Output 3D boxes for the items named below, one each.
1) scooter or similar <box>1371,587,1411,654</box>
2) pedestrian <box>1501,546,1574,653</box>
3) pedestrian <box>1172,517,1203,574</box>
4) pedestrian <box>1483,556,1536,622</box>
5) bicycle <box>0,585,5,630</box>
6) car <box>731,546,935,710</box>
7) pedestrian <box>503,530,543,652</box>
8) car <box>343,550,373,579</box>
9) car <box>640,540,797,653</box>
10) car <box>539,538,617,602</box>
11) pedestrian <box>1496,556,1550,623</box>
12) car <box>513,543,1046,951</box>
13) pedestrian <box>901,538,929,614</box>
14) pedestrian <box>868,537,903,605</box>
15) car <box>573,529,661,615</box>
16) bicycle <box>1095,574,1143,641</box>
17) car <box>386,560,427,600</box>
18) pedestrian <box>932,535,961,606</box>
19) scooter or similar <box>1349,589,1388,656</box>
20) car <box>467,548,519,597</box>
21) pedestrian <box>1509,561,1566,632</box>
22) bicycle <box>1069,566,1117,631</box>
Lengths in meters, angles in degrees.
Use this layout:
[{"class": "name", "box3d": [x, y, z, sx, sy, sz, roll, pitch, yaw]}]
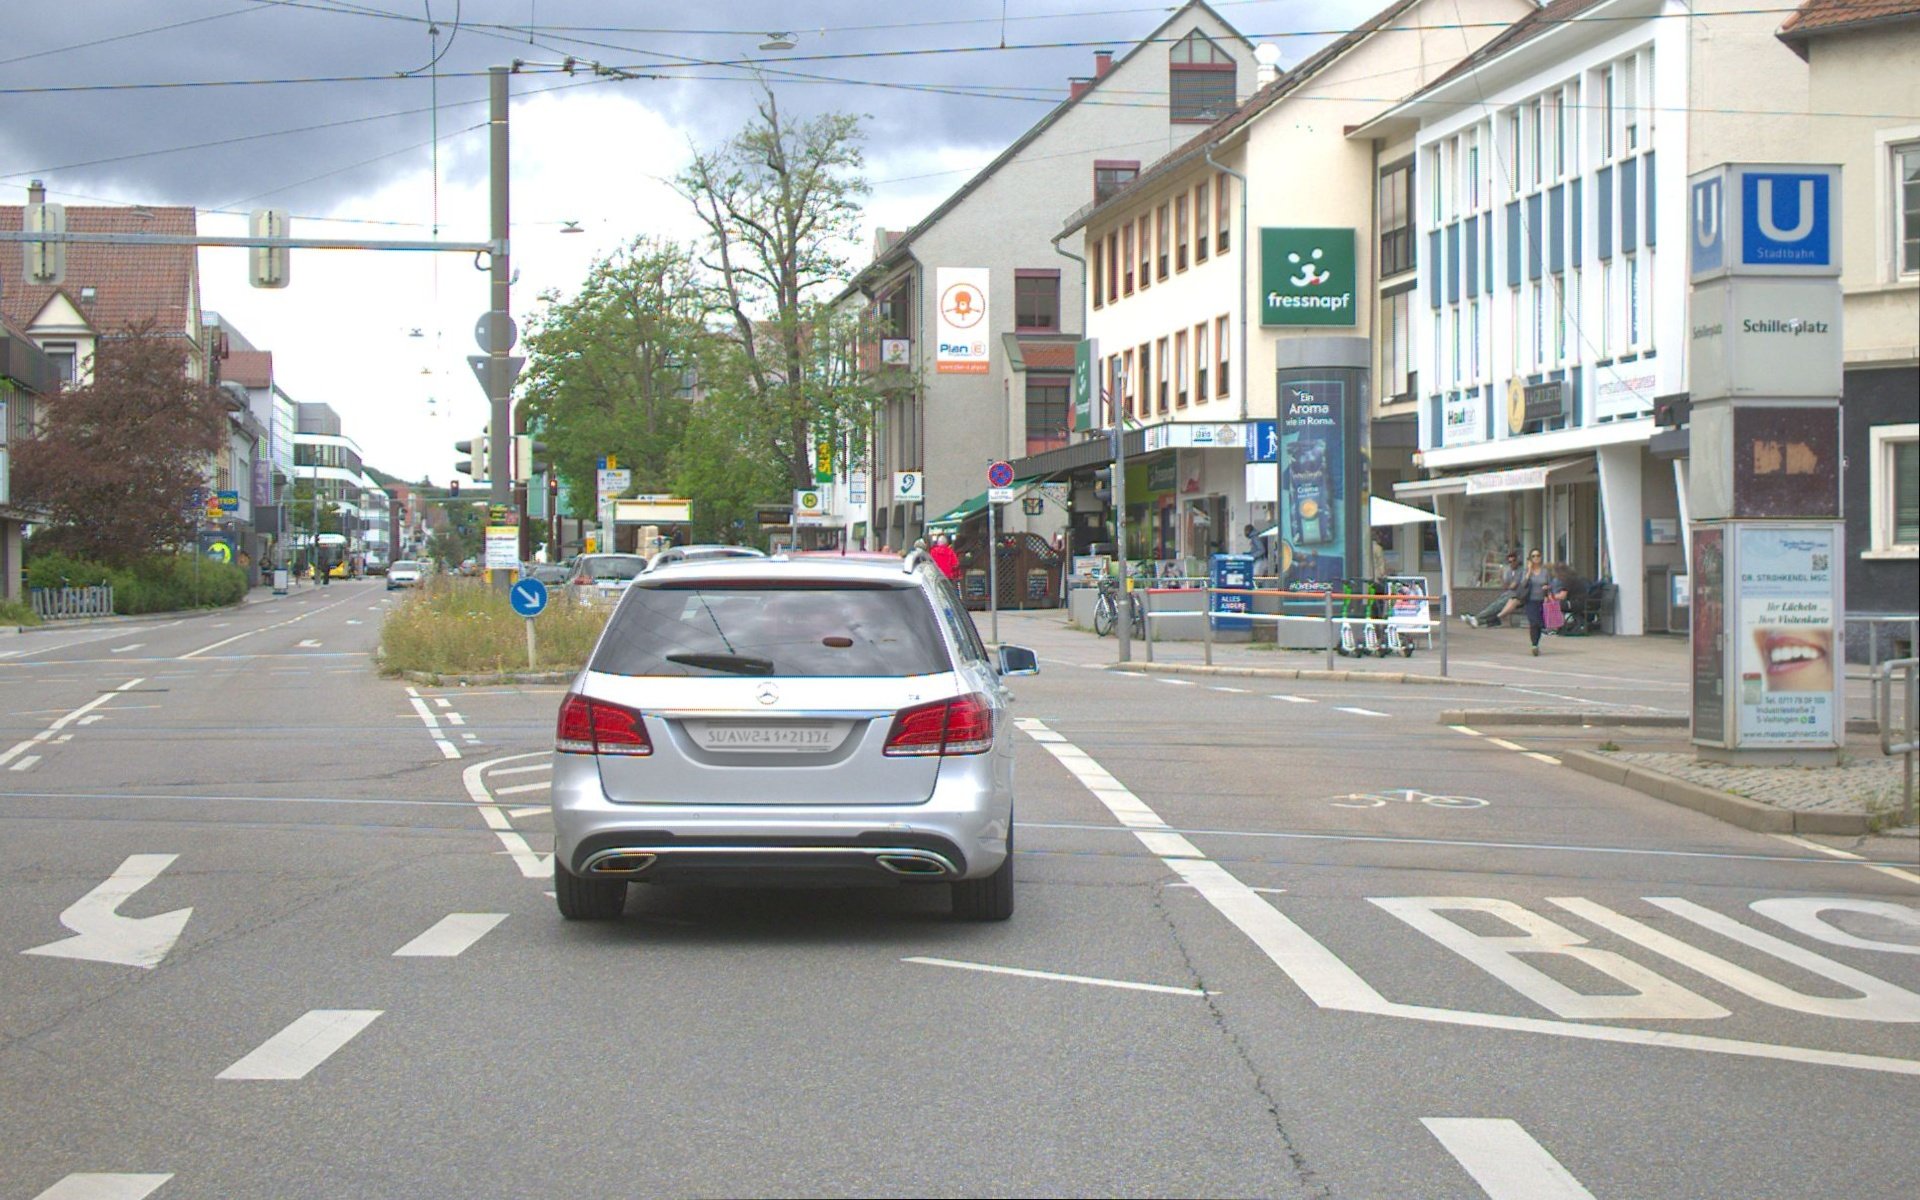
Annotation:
[{"class": "scooter or similar", "box3d": [6.507, 0.301, 51.900, 0.271, 0.998, 1.029, 0, 1, -12]}, {"class": "pedestrian", "box3d": [8.605, -0.012, 51.247, 0.640, 1.586, 0.898, 1, 0, -28]}, {"class": "pedestrian", "box3d": [4.927, -1.177, 74.528, 0.533, 1.214, 0.580, 1, 0, -10]}, {"class": "pedestrian", "box3d": [9.687, -0.194, 60.598, 0.736, 1.160, 0.643, 1, 0, -10]}, {"class": "bicycle", "box3d": [-23.158, 0.164, 79.691, 1.937, 1.025, 0.530, 1, 0, -18]}, {"class": "car", "box3d": [-1.192, 0.230, 33.807, 1.734, 1.503, 4.000, 1, 1, 2]}, {"class": "pedestrian", "box3d": [-6.364, -0.131, 50.055, 0.533, 1.757, 0.580, 0, 0, -10]}, {"class": "car", "box3d": [-43.056, -2.518, 245.771, 1.993, 2.007, 4.001, 1, 0, -11]}, {"class": "car", "box3d": [-3.408, -0.075, 47.916, 1.734, 1.503, 4.001, 0, 1, -10]}, {"class": "car", "box3d": [-10.670, -0.844, 95.945, 1.993, 1.744, 4.001, 0, 1, -9]}, {"class": "pedestrian", "box3d": [9.814, -0.181, 59.952, 0.736, 1.160, 0.643, 1, 0, -10]}, {"class": "car", "box3d": [-0.617, 0.514, 14.762, 1.846, 1.503, 4.171, 0, 1, 3]}, {"class": "pedestrian", "box3d": [-0.998, -0.537, 75.806, 0.578, 1.661, 0.651, 1, 0, -2]}, {"class": "pedestrian", "box3d": [-1.584, -0.612, 73.078, 0.577, 1.430, 0.651, 1, 0, -14]}, {"class": "car", "box3d": [-7.251, -0.608, 72.371, 1.734, 1.753, 4.001, 0, 1, -7]}, {"class": "bicycle", "box3d": [2.704, 0.114, 58.636, 0.448, 1.103, 2.150, 0, 1, -7]}, {"class": "car", "box3d": [-28.057, -1.030, 174.107, 1.993, 2.007, 4.001, 0, 1, -10]}, {"class": "pedestrian", "box3d": [-0.287, -0.622, 72.266, 0.578, 1.464, 0.651, 1, 0, -1]}, {"class": "scooter or similar", "box3d": [6.150, 0.336, 51.821, 0.271, 0.998, 1.029, 0, 1, -12]}, {"class": "car", "box3d": [-19.556, -1.175, 143.961, 1.993, 2.007, 4.001, 0, 1, -10]}, {"class": "pedestrian", "box3d": [9.592, -0.057, 57.103, 0.736, 1.160, 0.643, 1, 0, -10]}, {"class": "bicycle", "box3d": [2.258, -0.041, 58.574, 0.448, 1.087, 2.150, 0, 1, -7]}]
